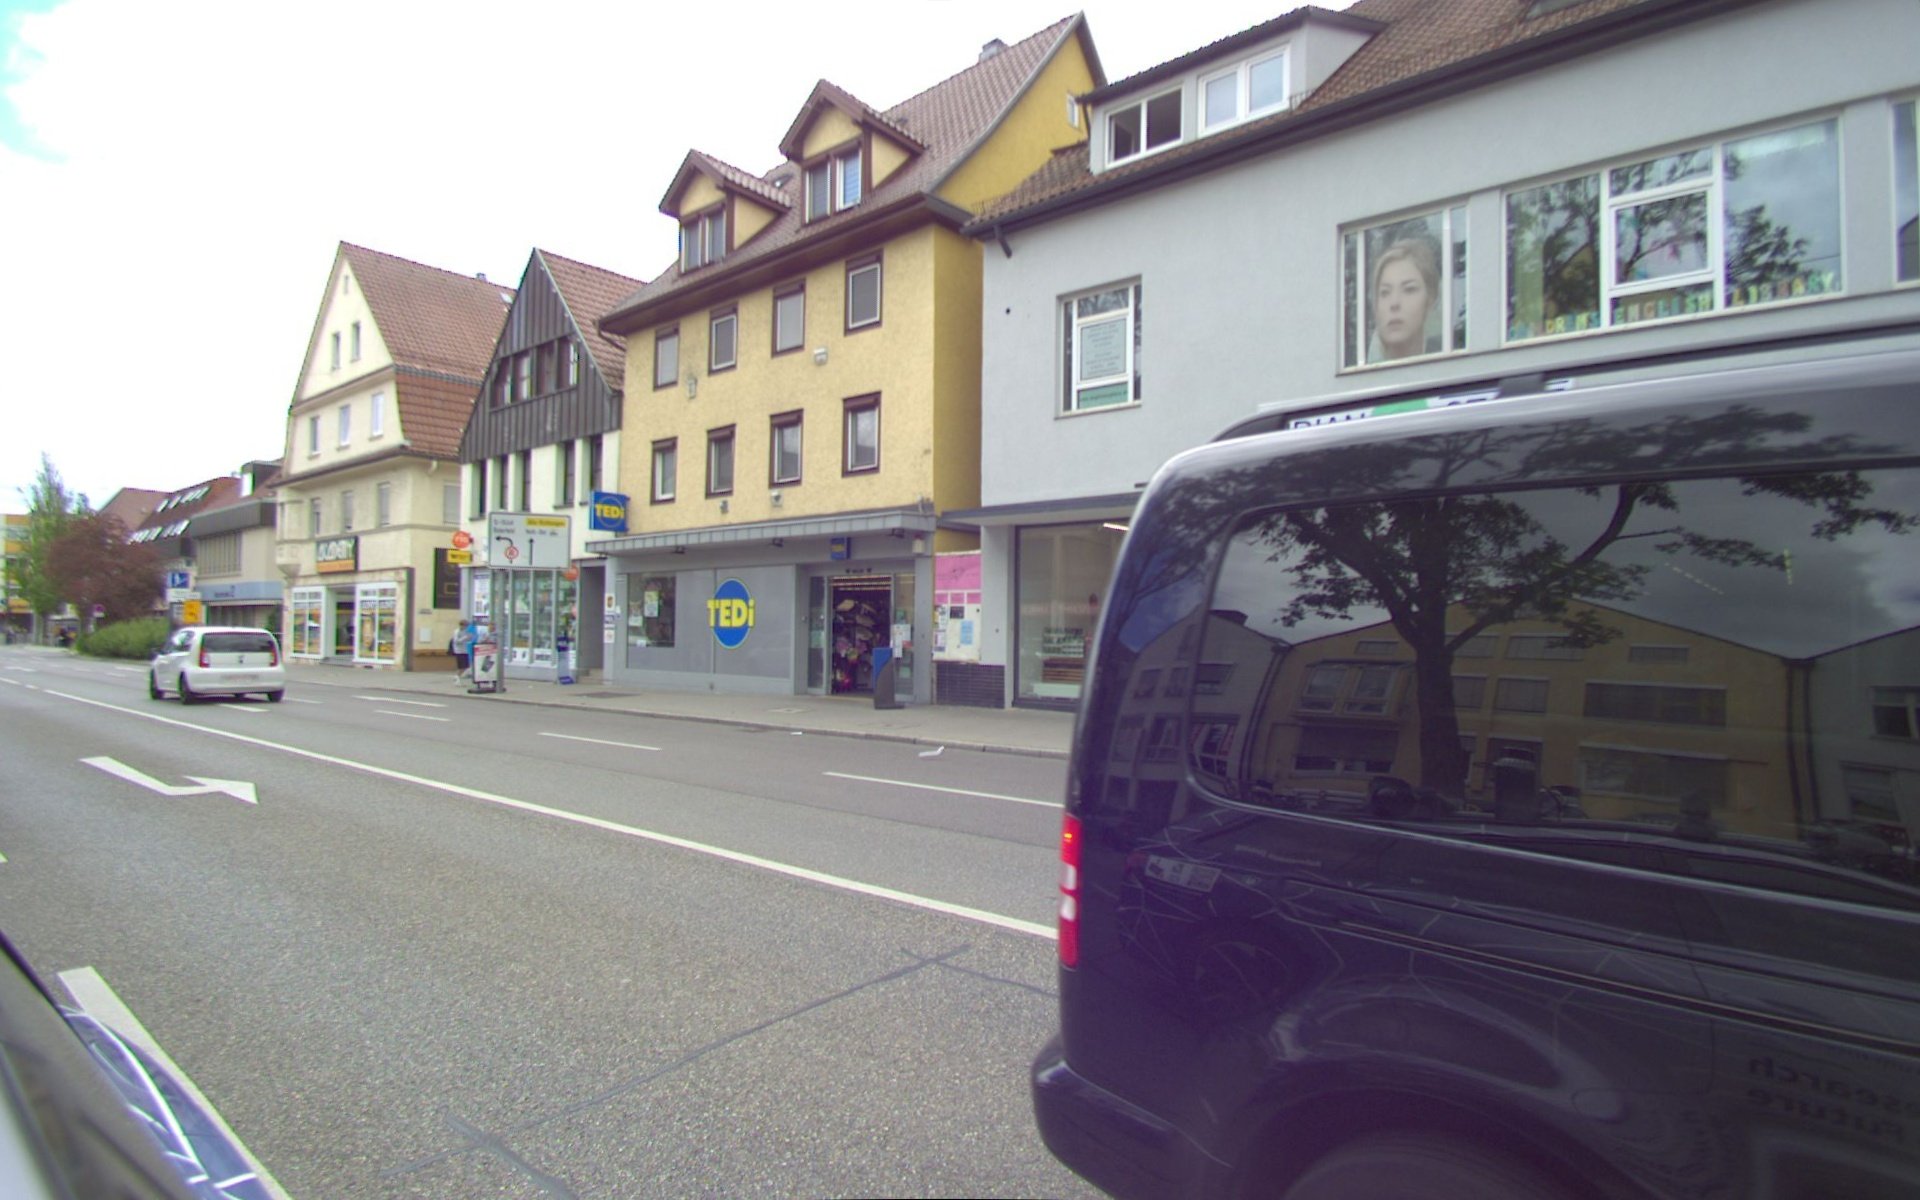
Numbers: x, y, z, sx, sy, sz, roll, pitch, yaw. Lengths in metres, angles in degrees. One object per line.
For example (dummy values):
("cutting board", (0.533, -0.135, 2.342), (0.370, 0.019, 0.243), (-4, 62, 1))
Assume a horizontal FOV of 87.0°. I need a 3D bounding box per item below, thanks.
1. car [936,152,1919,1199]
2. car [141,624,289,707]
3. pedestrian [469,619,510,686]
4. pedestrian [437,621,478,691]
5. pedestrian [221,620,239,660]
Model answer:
("car", (2.279, 0.435, 1.133), (4.630, 1.869, 1.726), (-2, -1, 40))
("car", (-14.708, 1.246, 19.933), (3.461, 1.500, 1.558), (-2, -3, 40))
("pedestrian", (-12.290, 1.361, 26.444), (0.709, 1.683, 0.681), (-2, 0, 41))
("pedestrian", (-12.594, 1.387, 25.381), (0.742, 1.703, 0.680), (-2, -1, 41))
("pedestrian", (-35.625, 1.949, 49.382), (0.592, 1.903, 0.544), (-2, -1, 37))
